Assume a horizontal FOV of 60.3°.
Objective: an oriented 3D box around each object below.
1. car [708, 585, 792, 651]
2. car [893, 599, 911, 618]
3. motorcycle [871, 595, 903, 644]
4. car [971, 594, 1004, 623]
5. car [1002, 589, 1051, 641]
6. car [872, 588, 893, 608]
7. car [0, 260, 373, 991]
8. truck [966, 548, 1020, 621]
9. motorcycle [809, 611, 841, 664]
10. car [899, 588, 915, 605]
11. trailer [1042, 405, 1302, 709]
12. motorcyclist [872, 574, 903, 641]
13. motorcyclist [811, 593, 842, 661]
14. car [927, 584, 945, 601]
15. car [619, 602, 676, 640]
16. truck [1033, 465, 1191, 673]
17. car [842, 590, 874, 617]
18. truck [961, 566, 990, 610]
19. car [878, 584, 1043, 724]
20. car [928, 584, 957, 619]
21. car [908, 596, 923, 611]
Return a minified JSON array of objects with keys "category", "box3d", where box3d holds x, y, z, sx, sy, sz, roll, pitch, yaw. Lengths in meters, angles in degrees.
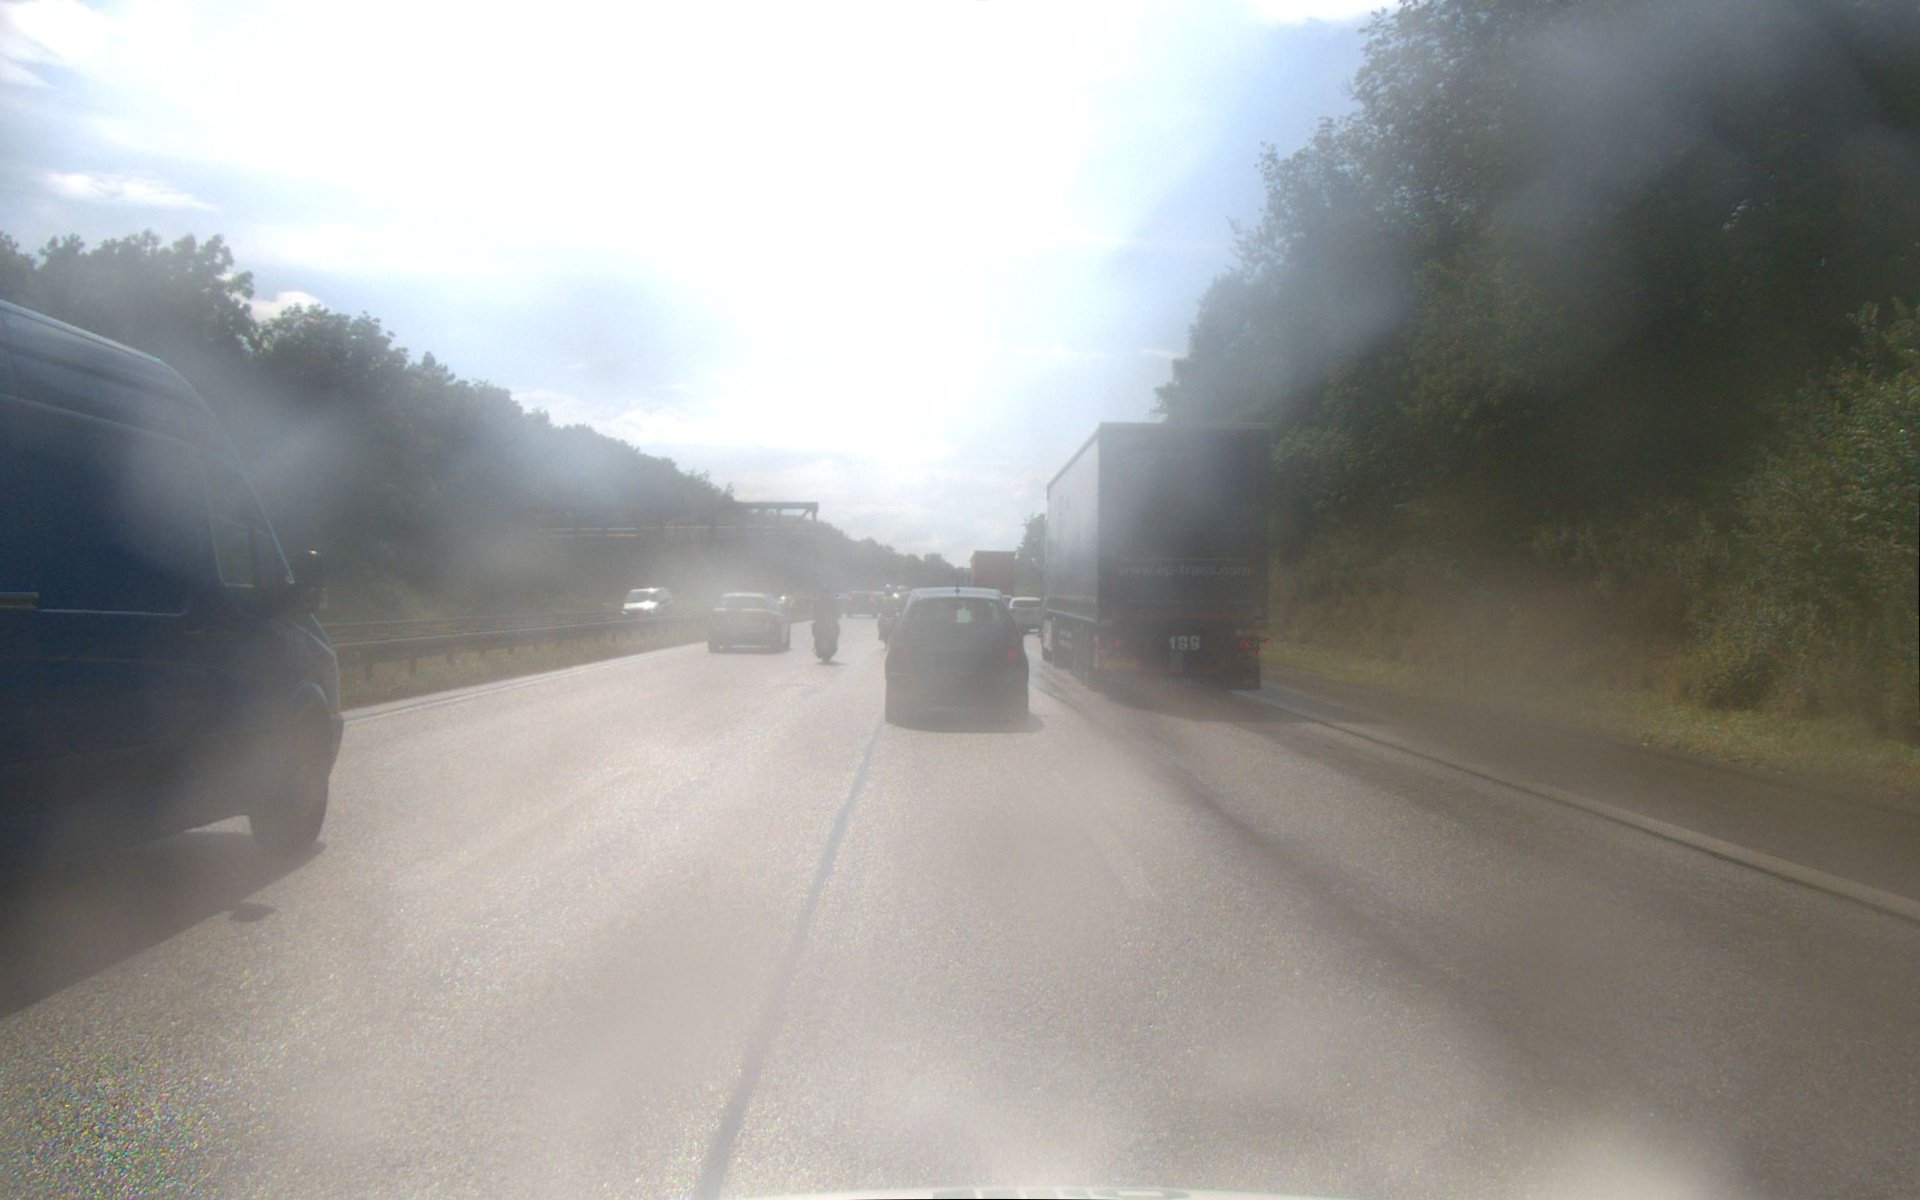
[{"category":"car","box3d":[-5.420,0.441,43.170,1.723,1.622,4.329,0,0,-1]},{"category":"car","box3d":[-6.545,0.987,187.018,1.953,2.049,3.999,1,0,-1]},{"category":"motorcycle","box3d":[-1.992,0.524,45.401,0.803,1.285,2.117,1,0,-1]},{"category":"car","box3d":[1.461,0.454,88.253,1.641,1.516,3.435,0,0,-1]},{"category":"car","box3d":[2.728,0.619,68.552,1.811,2.049,4.086,1,0,-1]},{"category":"car","box3d":[-6.289,-0.154,134.540,1.641,1.625,3.435,0,0,-1]},{"category":"car","box3d":[-4.552,0.087,7.290,1.975,2.695,5.775,0,0,-1]},{"category":"truck","box3d":[2.065,-0.948,106.584,3.137,4.481,9.430,0,0,-1]},{"category":"motorcycle","box3d":[-2.934,0.803,36.133,0.662,1.106,1.980,1,0,-4]},{"category":"car","box3d":[-6.498,-0.434,203.728,1.953,2.049,3.999,1,0,-1]},{"category":"trailer","box3d":[3.427,-0.639,31.031,3.025,4.388,14.104,0,0,0]},{"category":"motorcyclist","box3d":[-1.991,0.207,45.373,0.804,1.791,1.390,1,0,-2]},{"category":"motorcyclist","box3d":[-2.915,0.591,36.210,0.657,1.467,1.019,1,0,-4]},{"category":"car","box3d":[-2.244,-0.677,152.624,1.599,1.516,3.435,0,0,-1]},{"category":"car","box3d":[-15.028,0.998,79.722,1.870,1.708,4.967,-1,0,-1]},{"category":"truck","box3d":[3.385,-0.657,38.330,2.990,4.400,5.885,1,0,-1]},{"category":"car","box3d":[-6.420,0.214,104.238,1.854,1.656,4.194,0,0,-1]},{"category":"truck","box3d":[1.627,-1.269,183.442,2.823,4.769,12.655,1,0,-1]},{"category":"car","box3d":[-0.043,0.621,21.119,1.876,1.592,4.312,0,0,-1]},{"category":"car","box3d":[-1.046,0.070,96.470,1.641,1.970,3.772,0,0,-1]},{"category":"car","box3d":[-6.082,0.476,225.241,1.953,2.049,3.999,1,0,-1]}]
